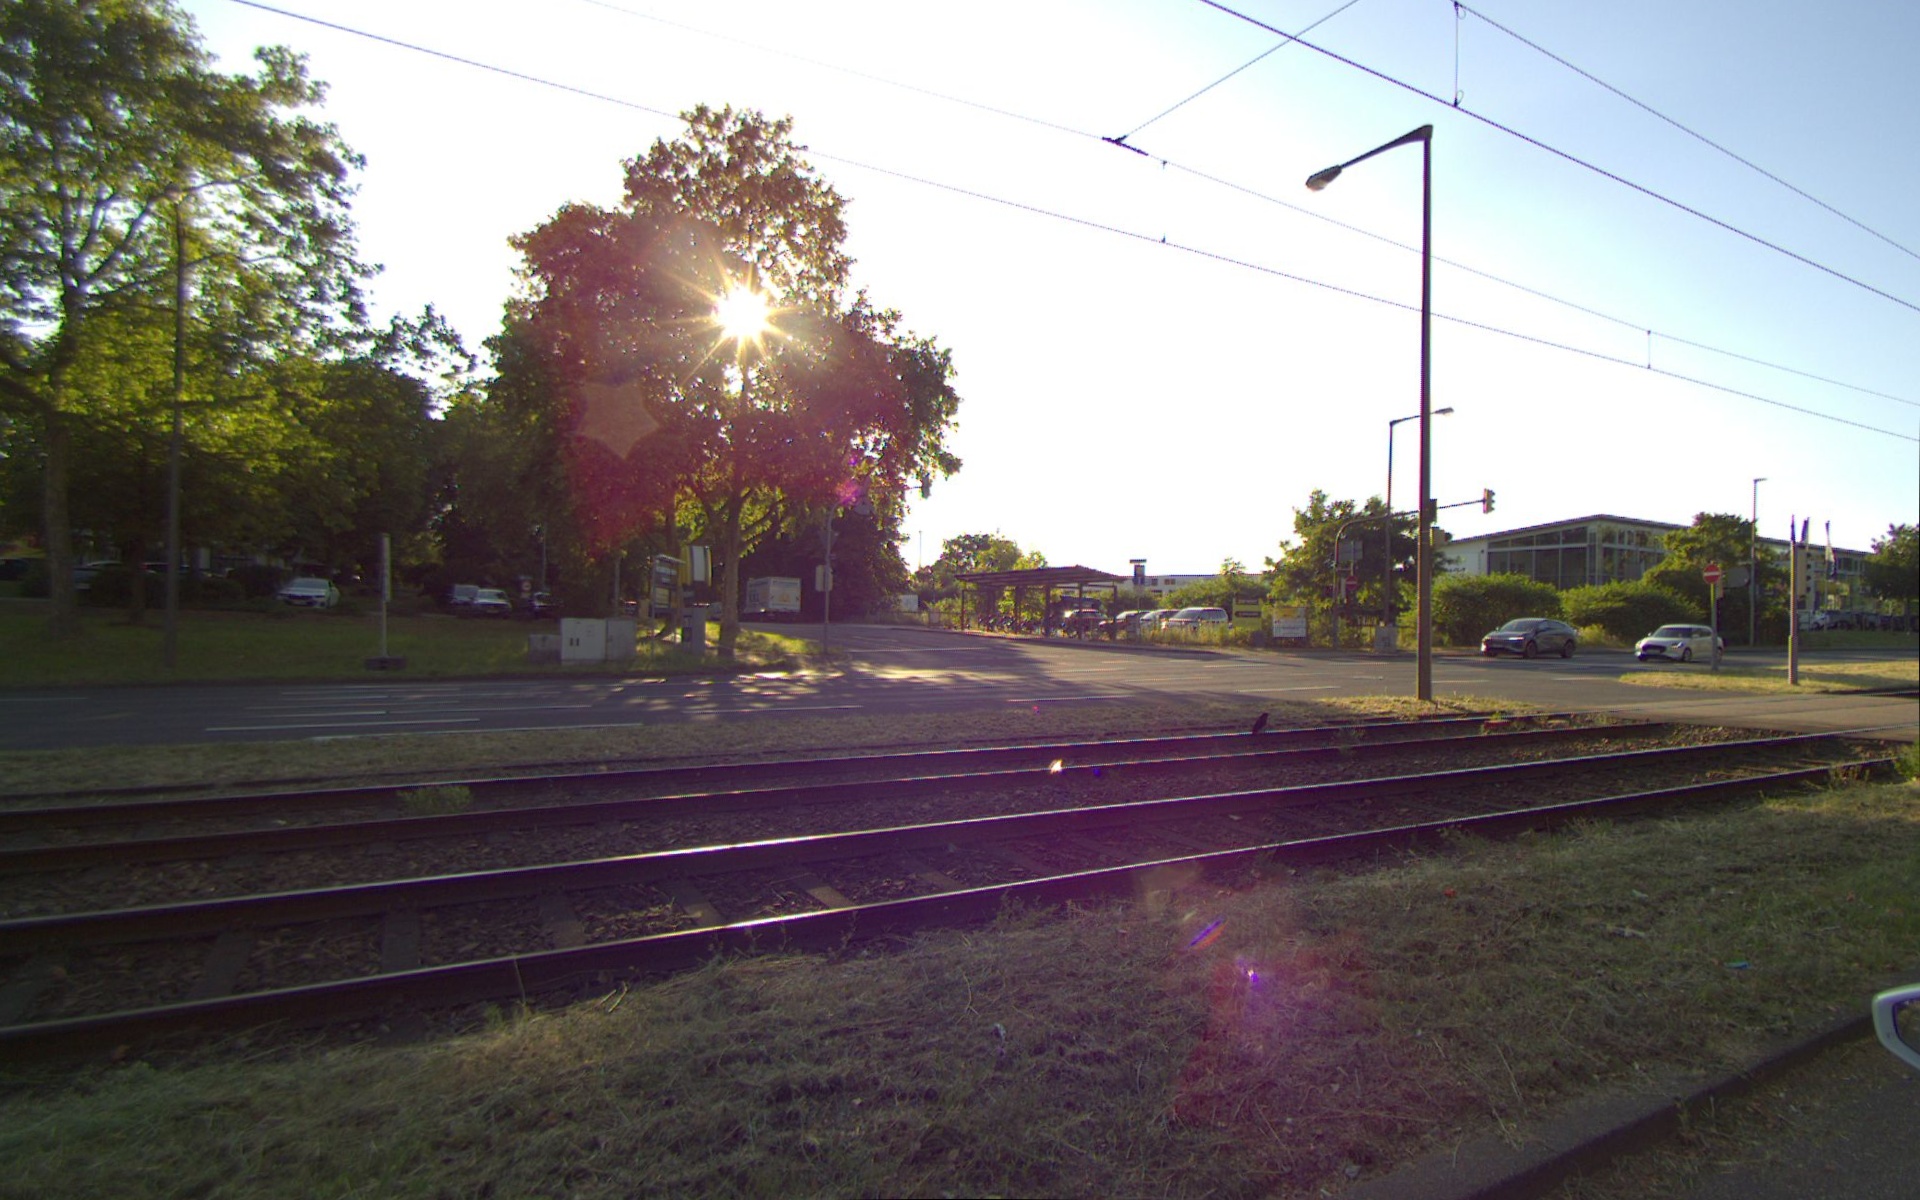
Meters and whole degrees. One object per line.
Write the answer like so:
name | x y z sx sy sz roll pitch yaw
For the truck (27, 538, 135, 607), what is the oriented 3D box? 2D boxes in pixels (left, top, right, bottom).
truck | -44.508 -1.326 51.069 2.468 3.209 6.187 2 0 -26

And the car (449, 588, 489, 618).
car | -28.567 0.141 58.499 1.836 1.637 4.036 2 0 -23

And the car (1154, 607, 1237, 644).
car | 12.367 1.334 52.740 4.123 1.846 1.853 1 0 -30

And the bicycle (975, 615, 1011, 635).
bicycle | 1.933 1.462 59.053 2.004 1.119 0.777 2 0 -30

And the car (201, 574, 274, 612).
car | -32.108 -0.307 44.761 1.916 1.530 4.071 2 0 -26

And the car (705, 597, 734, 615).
car | -22.788 0.551 95.035 1.711 1.603 4.028 1 0 -27

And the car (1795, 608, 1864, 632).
car | 66.731 1.501 77.175 3.940 1.727 1.735 1 0 40

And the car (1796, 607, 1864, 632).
car | 68.369 1.499 78.987 3.940 1.840 1.735 1 0 40

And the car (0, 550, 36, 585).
car | -53.854 -1.865 56.387 2.274 1.875 5.220 2 0 -36

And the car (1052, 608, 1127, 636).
car | 7.722 1.300 59.998 4.123 1.604 1.968 1 0 -30

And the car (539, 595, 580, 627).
car | -20.434 0.535 51.142 1.604 1.477 3.878 2 0 -27

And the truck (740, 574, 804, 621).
truck | -15.041 -0.248 79.794 2.782 3.520 8.291 1 0 -27

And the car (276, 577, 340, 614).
car | -29.427 -0.206 45.443 1.916 1.530 4.071 2 0 -26

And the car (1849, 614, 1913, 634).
car | 79.619 2.074 86.896 3.940 1.577 1.735 1 0 40

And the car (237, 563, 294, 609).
car | -37.292 -0.735 54.012 2.138 2.334 4.370 2 0 -31

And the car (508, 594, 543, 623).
car | -26.223 0.518 60.711 1.836 1.637 4.036 2 0 -23

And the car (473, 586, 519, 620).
car | -22.930 0.123 49.593 1.916 1.530 4.071 2 0 -26

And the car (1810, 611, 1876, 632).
car | 71.994 1.756 81.948 3.940 1.577 1.735 1 0 40

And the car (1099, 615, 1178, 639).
car | 9.945 1.495 55.872 4.123 1.284 1.853 1 0 -30

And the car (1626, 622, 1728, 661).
car | 29.263 1.665 40.986 4.041 1.501 1.854 1 0 -29

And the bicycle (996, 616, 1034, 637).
bicycle | 3.074 1.484 56.417 2.004 1.119 0.777 2 0 -30

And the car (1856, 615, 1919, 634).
car | 81.772 2.162 88.514 1.728 1.576 3.957 1 0 -37

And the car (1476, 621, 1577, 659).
car | 24.106 1.658 42.730 4.120 1.501 1.854 1 0 -29

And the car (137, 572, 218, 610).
car | -33.951 -0.380 43.688 1.916 1.530 4.071 2 0 -26

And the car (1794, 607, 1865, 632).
car | 65.185 1.451 75.375 3.940 1.727 1.735 1 0 40

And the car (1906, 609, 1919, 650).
car | 60.772 1.835 61.180 5.760 2.494 2.093 1 0 -19

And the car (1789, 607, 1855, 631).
car | 69.331 1.517 80.832 3.940 1.840 1.735 1 0 40

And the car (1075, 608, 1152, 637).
car | 8.826 1.293 57.803 4.123 1.604 1.853 1 0 -30

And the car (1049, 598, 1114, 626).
car | 9.293 0.947 76.669 4.715 2.041 1.853 1 0 -30

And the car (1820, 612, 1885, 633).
car | 74.214 1.852 83.615 3.940 1.577 1.735 1 0 40

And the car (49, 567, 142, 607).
car | -36.082 -0.542 42.025 1.916 1.530 4.071 2 0 -26

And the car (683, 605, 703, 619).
car | -33.339 1.444 125.420 1.887 1.602 4.036 2 0 -21
